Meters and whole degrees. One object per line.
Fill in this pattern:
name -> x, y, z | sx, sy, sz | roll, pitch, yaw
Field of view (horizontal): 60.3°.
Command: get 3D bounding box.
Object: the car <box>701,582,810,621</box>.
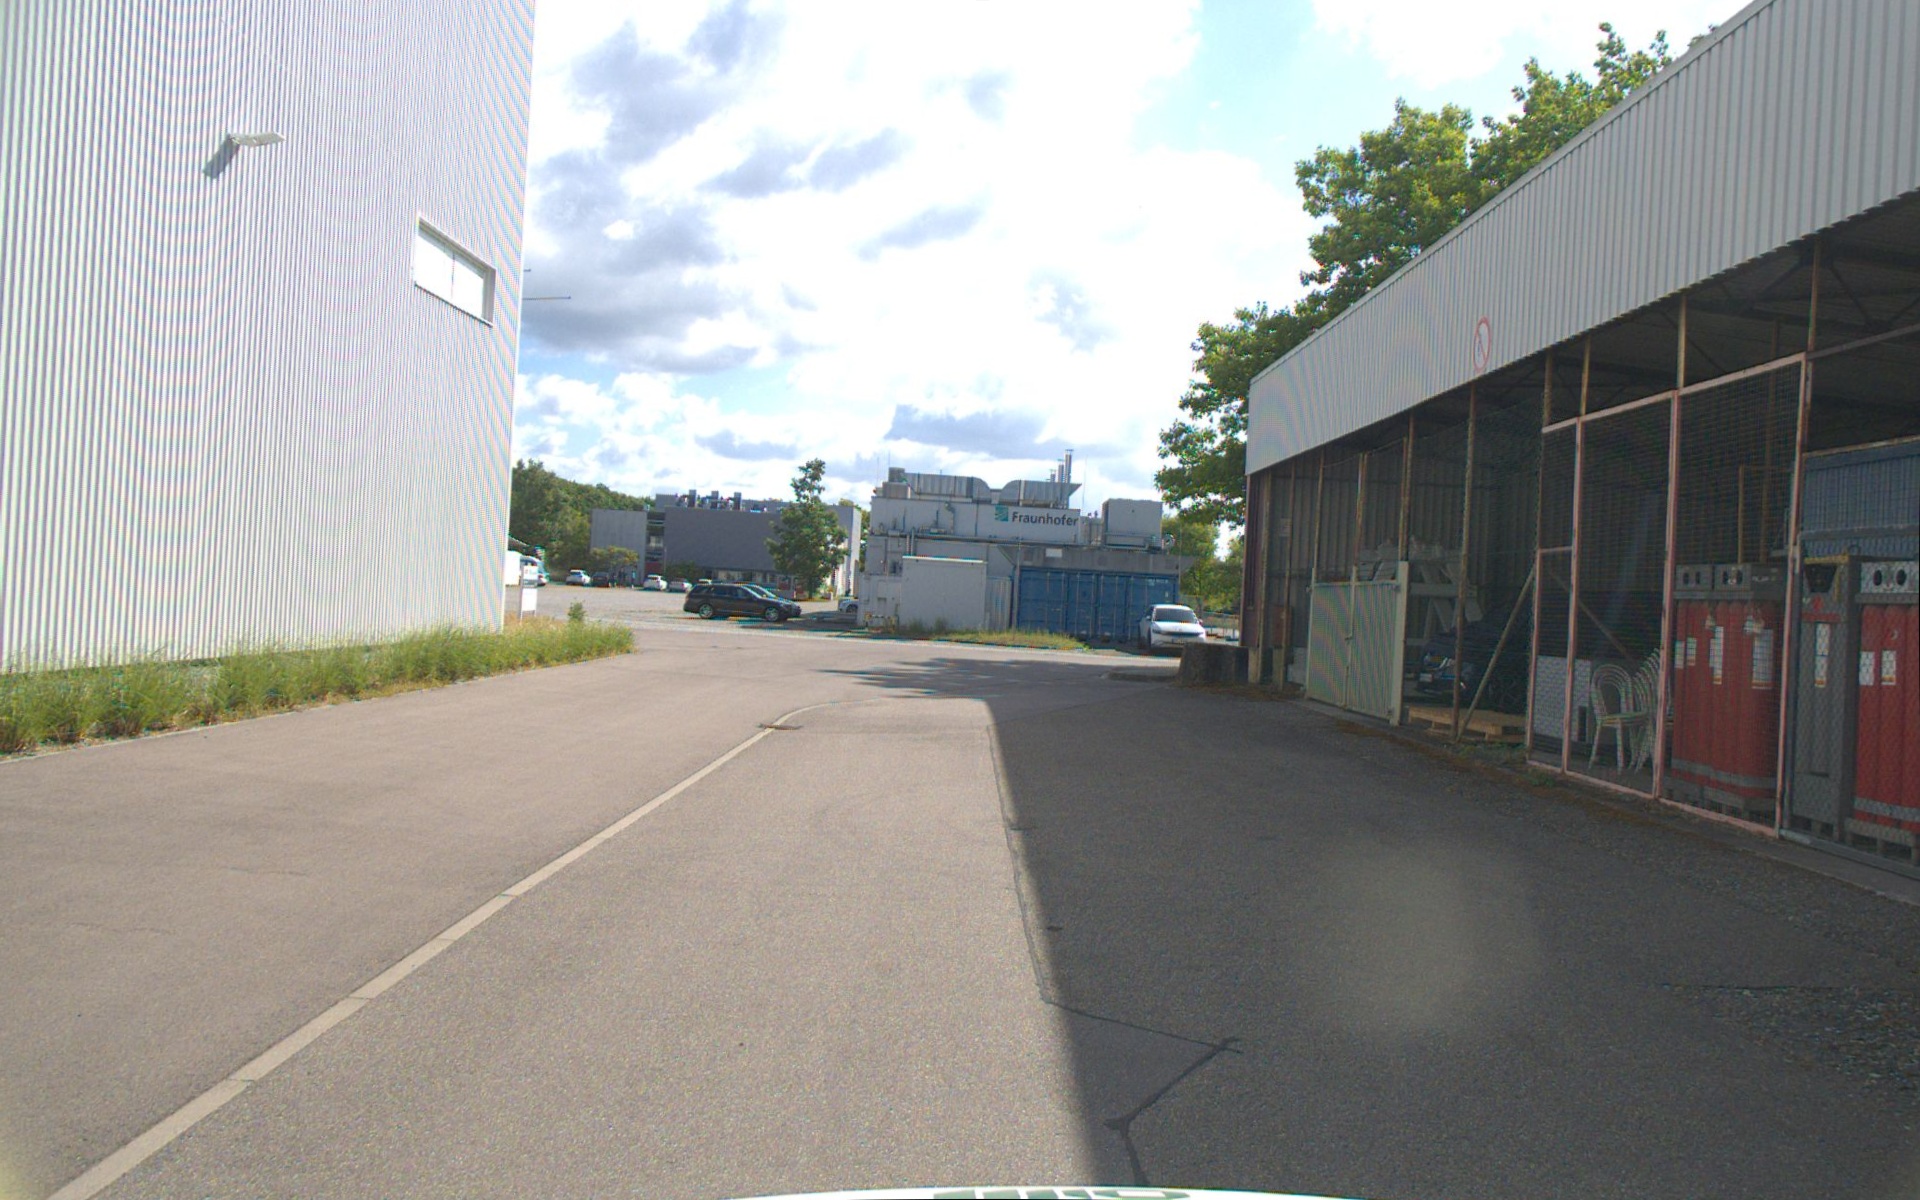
car -> -8.902, 0.079, 72.104 | 4.437, 1.468, 1.904 | 3, -2, 0

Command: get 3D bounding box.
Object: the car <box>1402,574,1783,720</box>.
car -> 9.819, 0.718, 25.933 | 5.065, 1.952, 2.276 | 3, 0, -6

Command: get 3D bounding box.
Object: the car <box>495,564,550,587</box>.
car -> -36.776, -2.071, 138.993 | 4.024, 1.659, 1.808 | 4, 0, 4

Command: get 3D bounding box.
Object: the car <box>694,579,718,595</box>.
car -> -25.440, -1.304, 165.738 | 1.840, 1.564, 4.033 | 1, 0, -2

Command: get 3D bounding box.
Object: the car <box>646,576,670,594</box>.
car -> -30.233, -1.489, 165.629 | 1.840, 1.719, 4.033 | 1, 0, -2

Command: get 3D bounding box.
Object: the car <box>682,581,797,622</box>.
car -> -9.127, 0.075, 68.844 | 4.437, 1.468, 1.987 | 3, -2, 0

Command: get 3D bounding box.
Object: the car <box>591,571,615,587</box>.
car -> -35.676, -2.094, 165.341 | 1.841, 1.564, 4.031 | 1, 0, -5

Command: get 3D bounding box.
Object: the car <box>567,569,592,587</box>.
car -> -38.078, -2.214, 165.440 | 1.810, 1.697, 4.129 | 1, 0, -5

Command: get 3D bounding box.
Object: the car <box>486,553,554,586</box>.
car -> -37.720, -2.581, 141.928 | 5.148, 2.484, 2.050 | 4, 0, 4

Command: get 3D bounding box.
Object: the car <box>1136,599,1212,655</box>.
car -> 7.235, 0.900, 56.377 | 1.941, 1.621, 4.340 | 3, 1, 0

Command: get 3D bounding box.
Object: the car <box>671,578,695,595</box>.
car -> -27.720, -1.355, 165.498 | 1.840, 1.564, 4.033 | 1, 0, -2

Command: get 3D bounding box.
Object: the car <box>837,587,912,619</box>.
car -> -4.973, 0.190, 96.623 | 4.192, 1.596, 1.987 | 3, -2, 0
